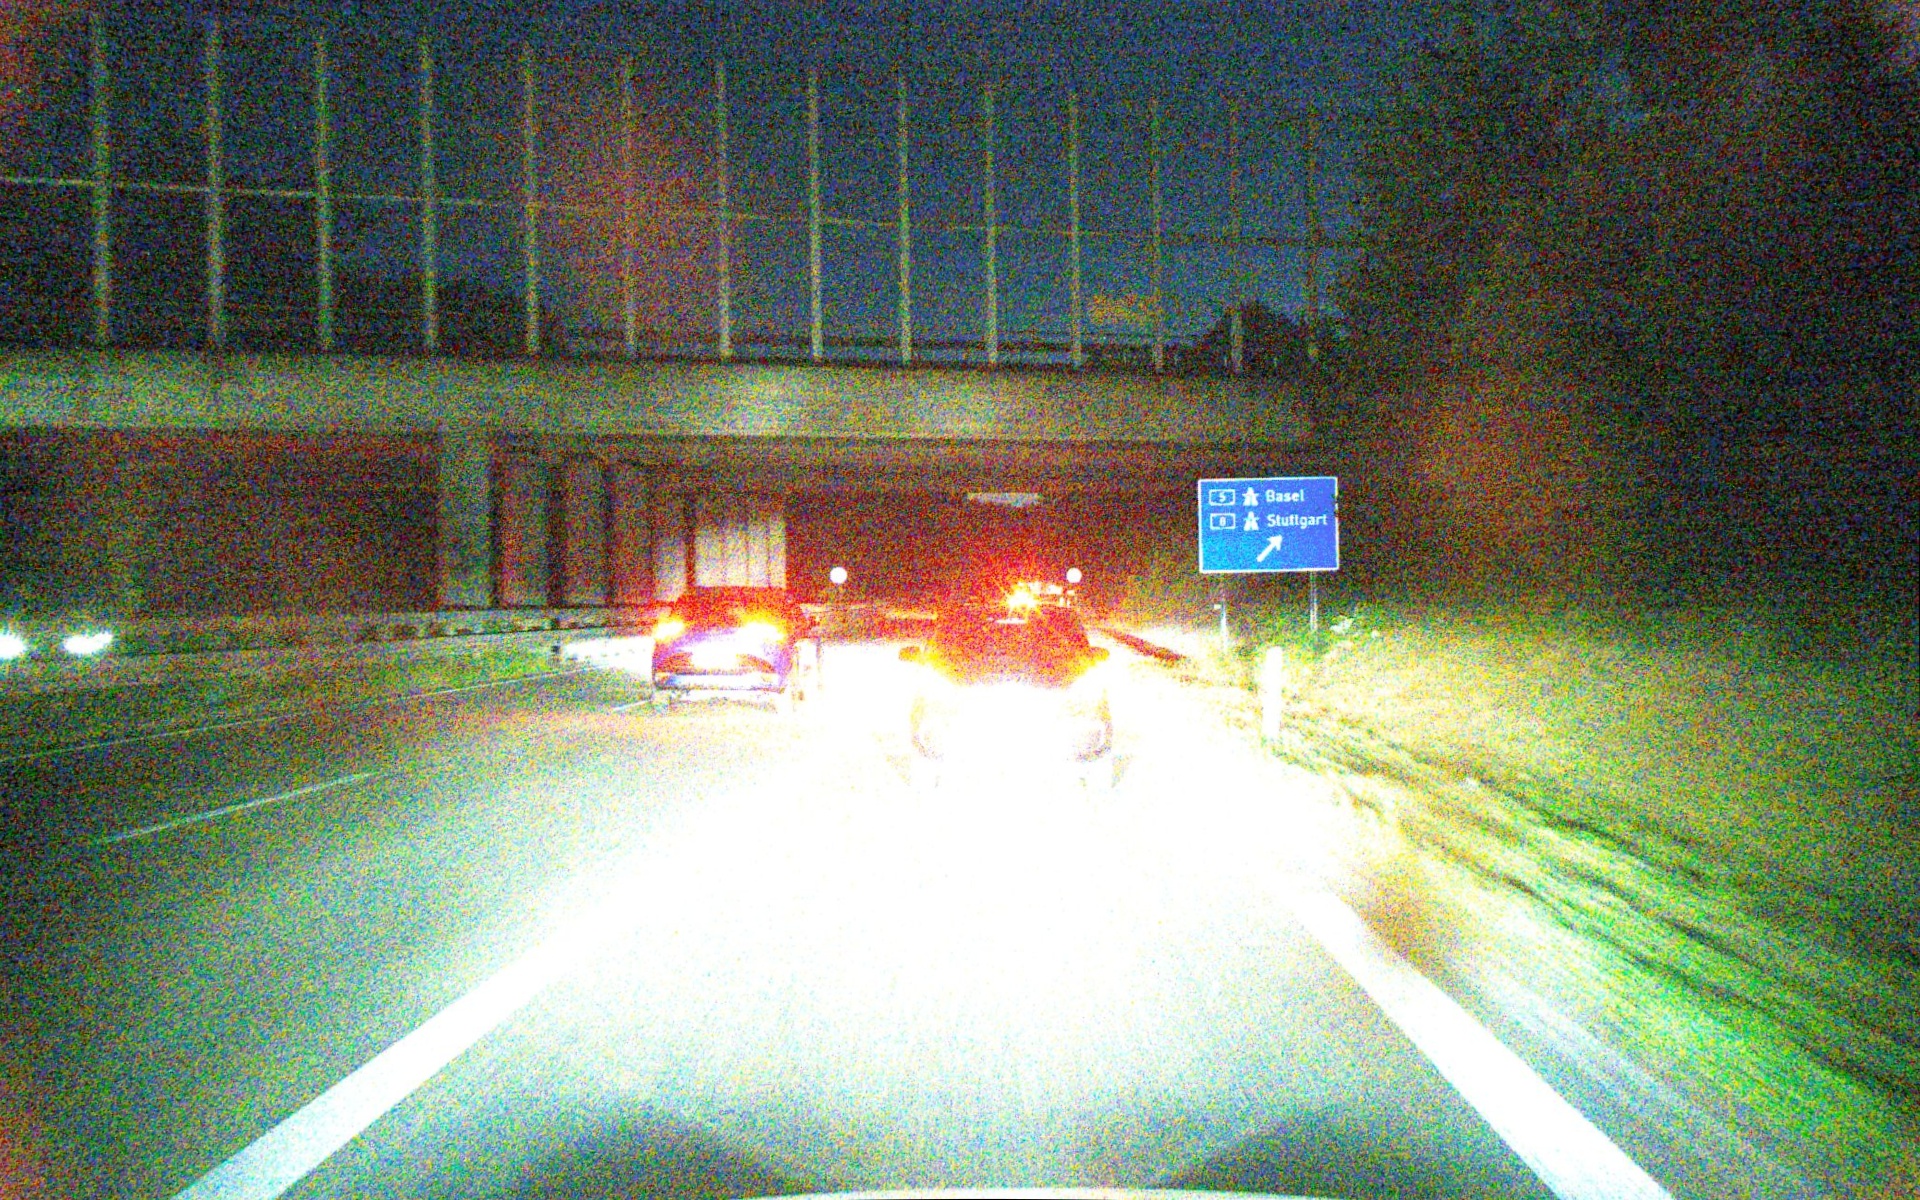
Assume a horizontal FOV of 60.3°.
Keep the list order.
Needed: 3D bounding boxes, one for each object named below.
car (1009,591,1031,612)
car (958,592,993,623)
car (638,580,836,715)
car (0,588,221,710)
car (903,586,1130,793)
[{"bbox_3d":[4.745,0.115,131.573,1.697,1.646,3.799,1,0,1],"label":"car"},{"bbox_3d":[0.926,0.479,97.005,1.911,1.565,4.241,-4,-2,1],"label":"car"},{"bbox_3d":[-2.943,0.577,22.821,1.900,1.636,4.645,1,0,2],"label":"car"},{"bbox_3d":[-15.618,0.856,30.302,1.952,2.049,4.609,1,-1,2],"label":"car"},{"bbox_3d":[0.369,0.675,14.304,1.657,1.503,3.999,1,0,-2],"label":"car"}]
